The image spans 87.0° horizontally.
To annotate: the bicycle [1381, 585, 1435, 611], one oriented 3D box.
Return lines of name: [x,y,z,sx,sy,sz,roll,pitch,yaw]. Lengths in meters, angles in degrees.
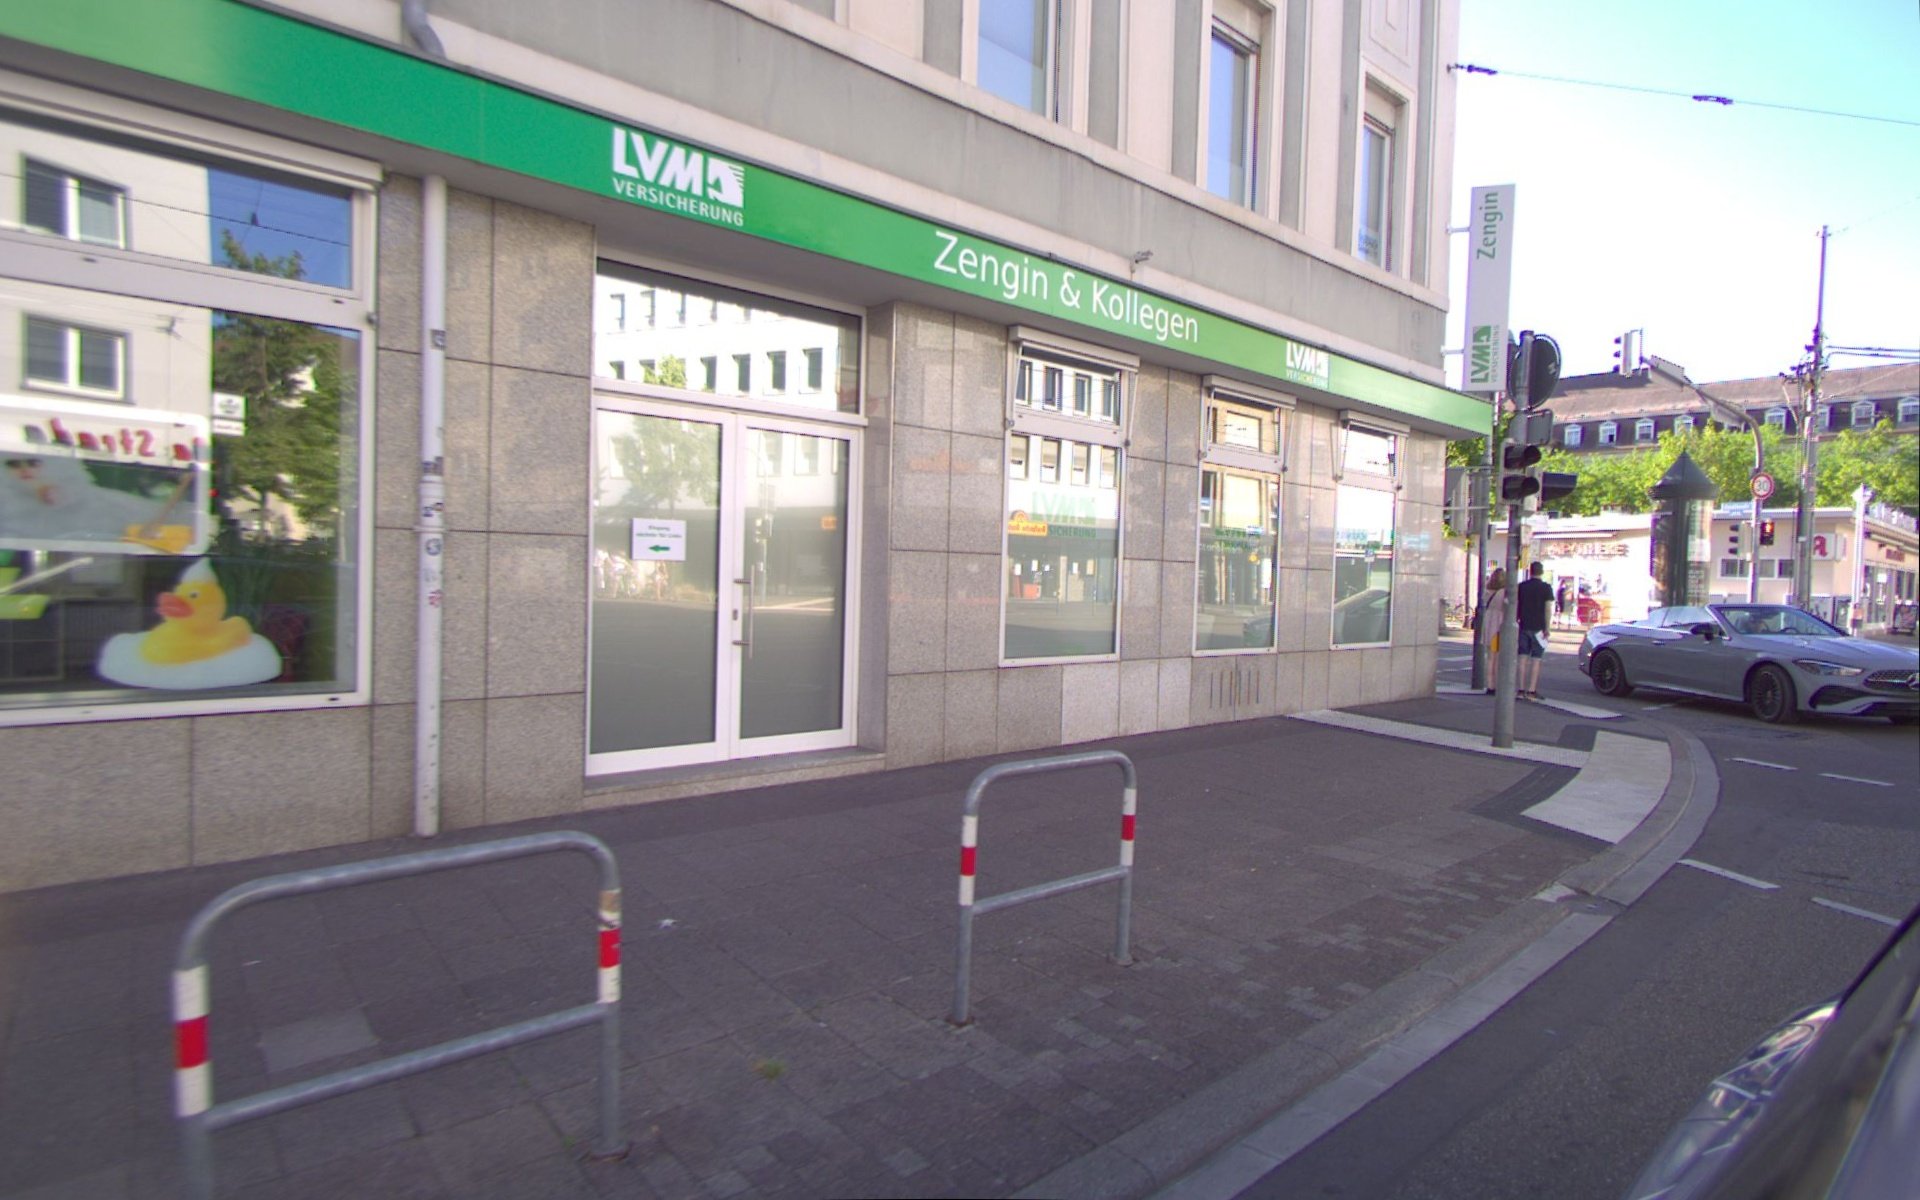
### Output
bicycle: [18.244,-0.095,41.241,1.852,1.015,0.766,1,2,-8]

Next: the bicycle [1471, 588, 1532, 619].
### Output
bicycle: [19.806,0.126,37.036,1.953,1.101,0.755,0,2,-14]

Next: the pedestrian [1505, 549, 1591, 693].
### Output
pedestrian: [7.828,0.263,13.482,0.628,1.865,0.683,1,1,-17]

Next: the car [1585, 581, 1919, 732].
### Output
car: [10.290,0.560,12.873,1.875,1.480,4.366,0,2,-1]

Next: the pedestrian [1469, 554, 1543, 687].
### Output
pedestrian: [7.497,0.263,13.907,0.562,1.781,0.651,0,1,-17]

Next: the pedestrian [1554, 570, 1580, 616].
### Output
pedestrian: [23.426,-0.276,39.060,0.510,1.730,0.613,2,1,-16]

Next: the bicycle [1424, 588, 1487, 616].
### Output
bicycle: [19.209,0.063,39.257,1.980,1.014,0.889,1,2,-1]
